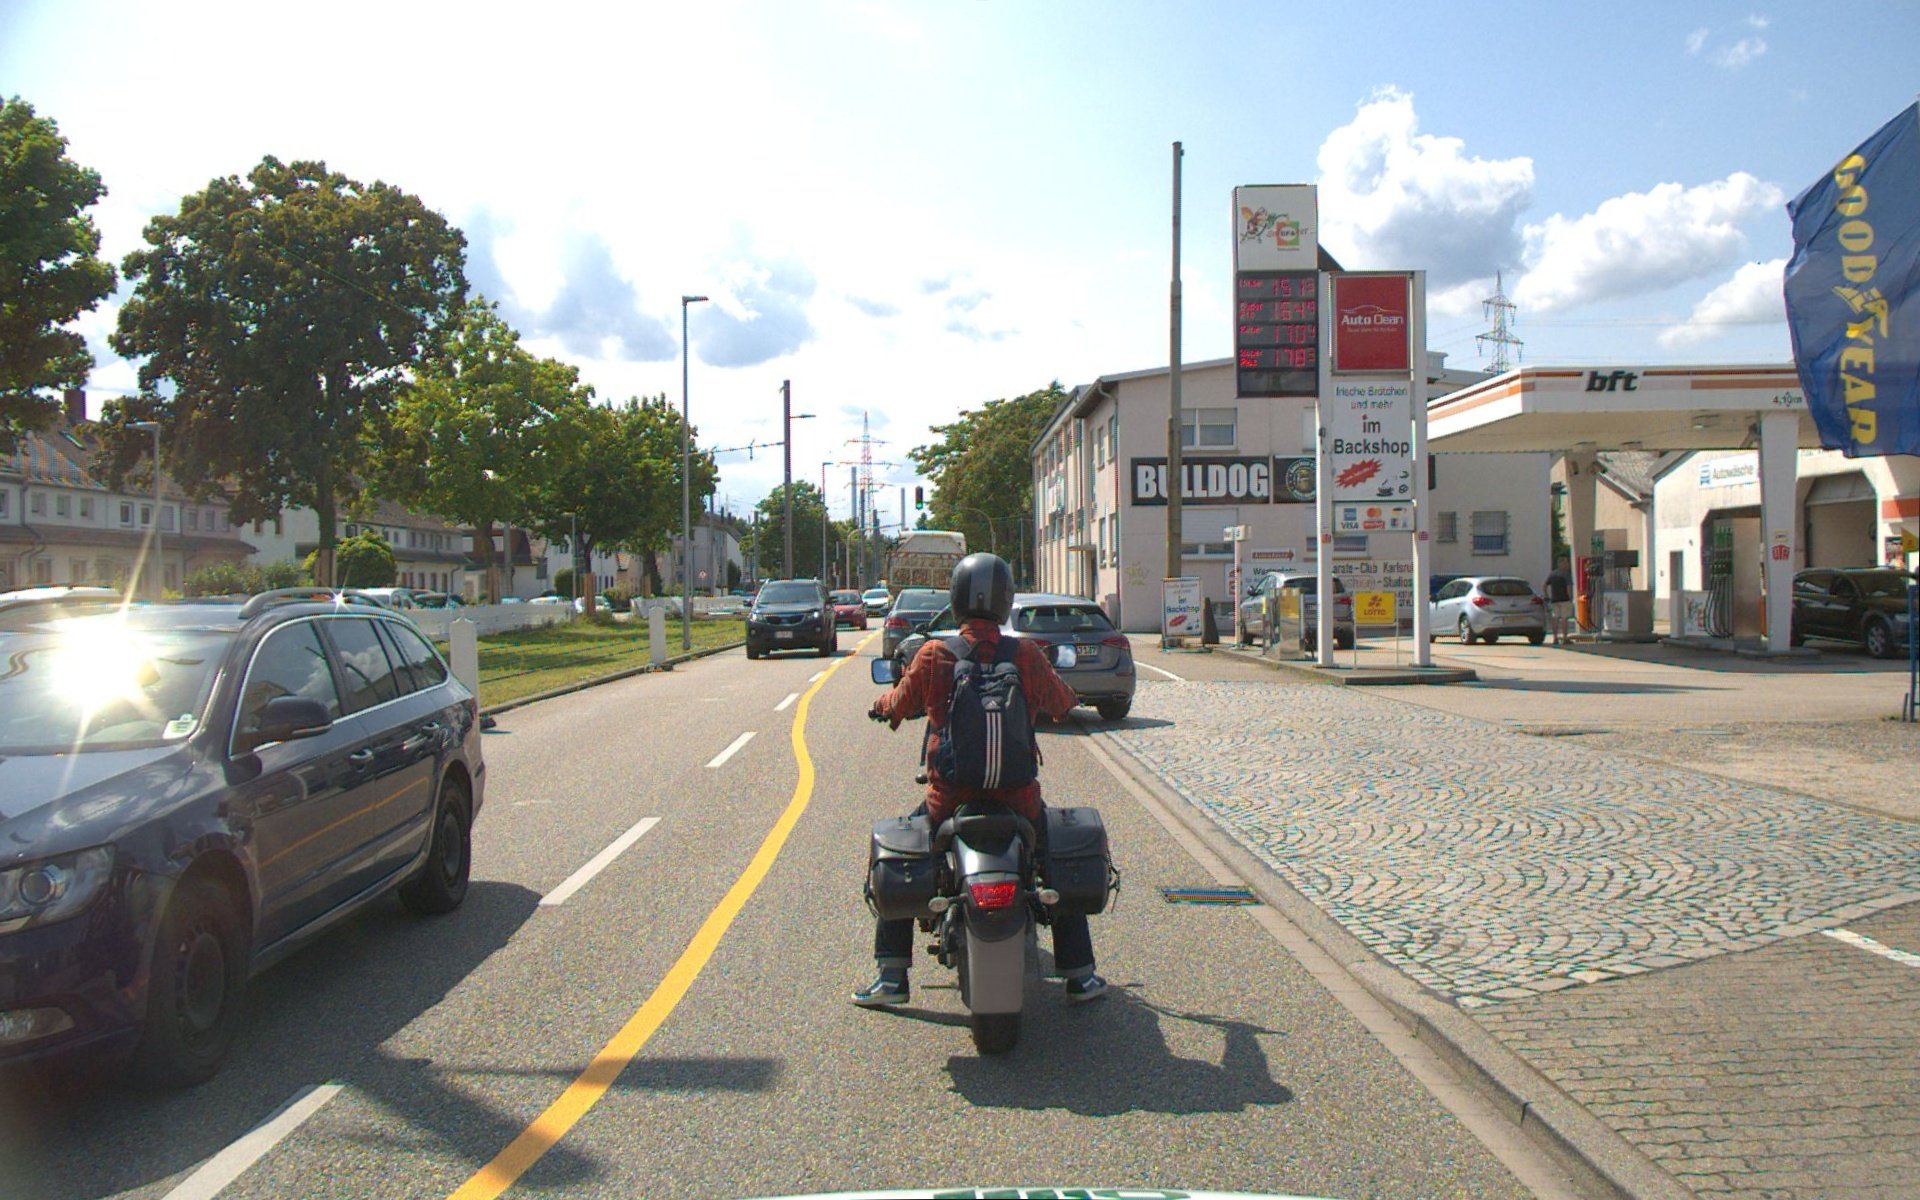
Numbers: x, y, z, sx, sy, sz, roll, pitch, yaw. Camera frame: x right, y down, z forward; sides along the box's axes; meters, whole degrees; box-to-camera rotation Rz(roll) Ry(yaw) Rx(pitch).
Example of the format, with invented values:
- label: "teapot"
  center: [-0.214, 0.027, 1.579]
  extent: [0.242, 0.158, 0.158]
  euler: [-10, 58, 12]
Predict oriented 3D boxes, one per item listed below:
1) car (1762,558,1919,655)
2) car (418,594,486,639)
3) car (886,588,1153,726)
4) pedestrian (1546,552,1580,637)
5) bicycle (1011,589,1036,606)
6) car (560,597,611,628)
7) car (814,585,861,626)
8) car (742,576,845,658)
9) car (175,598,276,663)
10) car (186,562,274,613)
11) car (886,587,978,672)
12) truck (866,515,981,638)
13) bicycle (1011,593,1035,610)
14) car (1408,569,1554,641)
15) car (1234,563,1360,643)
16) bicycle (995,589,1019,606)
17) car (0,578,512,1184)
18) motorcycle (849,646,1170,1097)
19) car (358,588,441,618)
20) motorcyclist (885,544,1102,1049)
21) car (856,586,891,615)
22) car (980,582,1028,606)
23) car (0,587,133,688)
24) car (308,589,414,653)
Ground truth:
- label: "car"
  center: [16.451, 0.048, 29.897]
  extent: [1.648, 1.546, 4.492]
  euler: [-1, 2, -1]
- label: "car"
  center: [-16.861, 0.533, 55.011]
  extent: [1.323, 1.401, 3.113]
  euler: [-2, 0, -1]
- label: "car"
  center: [0.585, 0.610, 19.698]
  extent: [1.707, 1.428, 4.060]
  euler: [1, 0, -21]
- label: "pedestrian"
  center: [13.025, -0.122, 35.721]
  extent: [0.487, 1.807, 0.577]
  euler: [1, -1, -4]
- label: "bicycle"
  center: [4.500, -0.192, 117.251]
  extent: [1.672, 1.192, 0.438]
  euler: [1, -1, 4]
- label: "car"
  center: [-16.932, 0.557, 74.901]
  extent: [1.491, 1.378, 3.620]
  euler: [1, 0, -1]
- label: "car"
  center: [-4.597, 0.202, 62.545]
  extent: [1.546, 1.495, 3.719]
  euler: [1, 0, -1]
- label: "car"
  center: [-3.716, 0.375, 37.544]
  extent: [1.759, 1.719, 4.222]
  euler: [-1, 0, 2]
- label: "car"
  center: [-16.386, 0.658, 36.972]
  extent: [1.050, 1.371, 2.449]
  euler: [-2, 0, 3]
- label: "car"
  center: [-30.577, -0.498, 69.415]
  extent: [1.953, 2.049, 3.999]
  euler: [1, 0, -2]
- label: "car"
  center: [-0.474, 0.507, 31.154]
  extent: [1.610, 1.469, 3.748]
  euler: [1, 1, 0]
- label: "truck"
  center: [-0.919, -0.610, 48.193]
  extent: [2.906, 3.228, 7.765]
  euler: [1, 0, 2]
- label: "bicycle"
  center: [4.445, 0.101, 116.737]
  extent: [1.672, 1.192, 0.438]
  euler: [1, -1, 4]
- label: "car"
  center: [11.762, 0.116, 37.653]
  extent: [1.658, 1.496, 4.420]
  euler: [-2, 0, -4]
- label: "car"
  center: [7.459, 0.052, 37.057]
  extent: [1.906, 1.653, 4.616]
  euler: [0, 0, 0]
- label: "bicycle"
  center: [3.333, -0.160, 117.806]
  extent: [1.672, 1.192, 0.438]
  euler: [1, -1, 4]
- label: "car"
  center: [-3.106, 0.719, 6.373]
  extent: [1.677, 1.512, 4.523]
  euler: [-2, 0, -3]
- label: "motorcycle"
  center: [0.129, 0.832, 6.093]
  extent: [0.923, 1.221, 2.472]
  euler: [1, 0, -1]
- label: "car"
  center: [-30.672, 0.168, 90.544]
  extent: [3.906, 1.536, 1.725]
  euler: [-1, 0, -2]
- label: "motorcyclist"
  center: [0.105, 0.641, 5.733]
  extent: [0.684, 1.632, 0.692]
  euler: [1, -1, -1]
- label: "car"
  center: [-4.699, 0.016, 89.977]
  extent: [1.784, 1.470, 4.482]
  euler: [-2, 0, -2]
- label: "car"
  center: [3.675, -0.480, 136.542]
  extent: [1.773, 1.959, 3.972]
  euler: [1, -1, 44]
- label: "car"
  center: [-16.406, 0.653, 29.192]
  extent: [1.619, 1.654, 4.000]
  euler: [-2, 0, -1]
- label: "car"
  center: [-16.919, 0.582, 46.894]
  extent: [1.590, 1.680, 3.898]
  euler: [-2, 0, -1]
